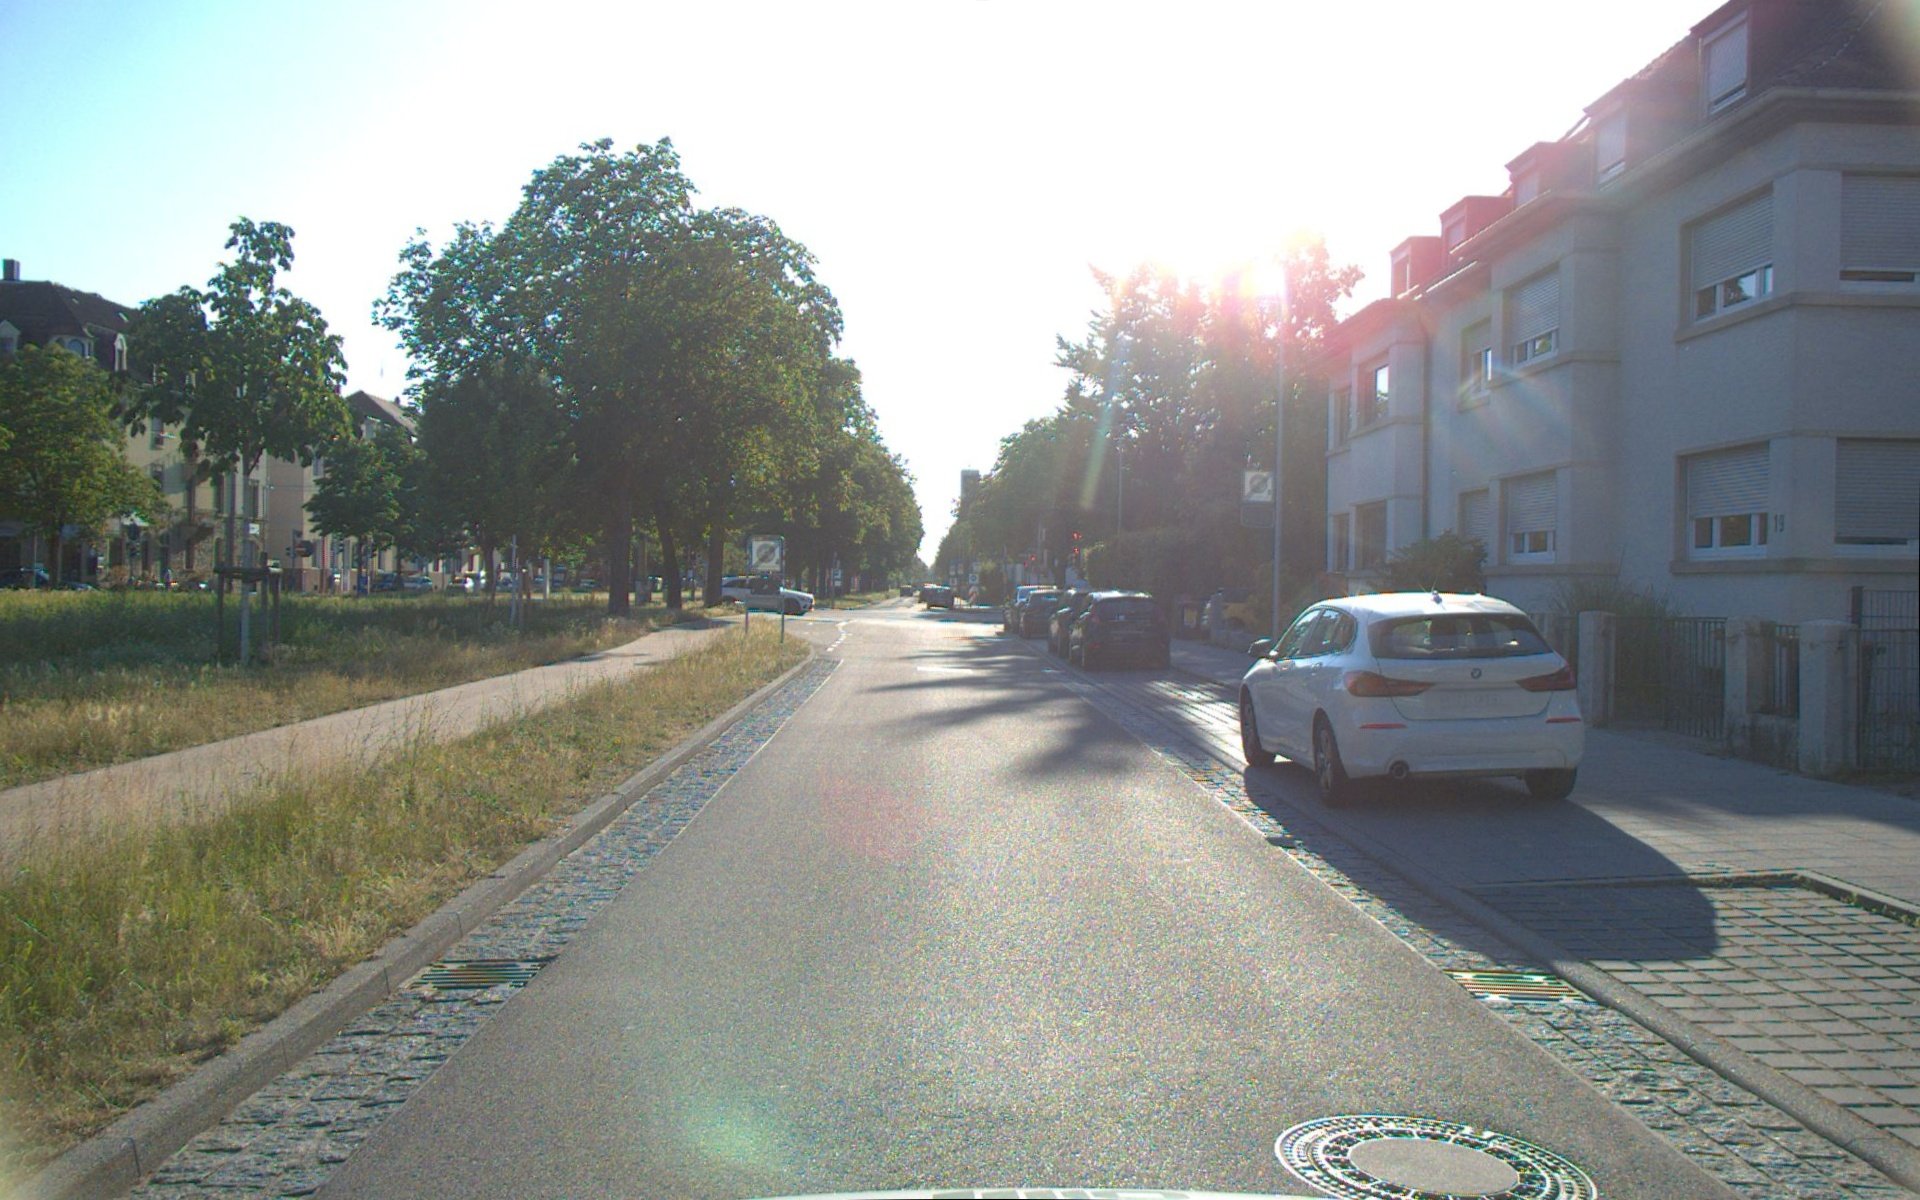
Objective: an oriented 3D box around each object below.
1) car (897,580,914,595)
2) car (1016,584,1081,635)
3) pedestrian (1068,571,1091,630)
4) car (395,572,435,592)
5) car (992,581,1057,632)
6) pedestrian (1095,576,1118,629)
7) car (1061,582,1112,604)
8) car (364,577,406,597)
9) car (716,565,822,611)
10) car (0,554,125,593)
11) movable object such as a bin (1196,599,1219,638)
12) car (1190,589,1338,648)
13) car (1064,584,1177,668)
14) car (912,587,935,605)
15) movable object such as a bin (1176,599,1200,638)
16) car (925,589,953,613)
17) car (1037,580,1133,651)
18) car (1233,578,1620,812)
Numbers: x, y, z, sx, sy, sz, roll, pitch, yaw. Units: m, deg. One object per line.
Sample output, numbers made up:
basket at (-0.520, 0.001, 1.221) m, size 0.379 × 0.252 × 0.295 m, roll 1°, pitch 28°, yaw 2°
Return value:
car at (-7.546, -1.757, 229.043) m, size 2.090 × 2.049 × 3.901 m, roll 2°, pitch 0°, yaw 0°
car at (2.568, 0.260, 48.655) m, size 1.608 × 1.452 × 3.935 m, roll 0°, pitch 0°, yaw -1°
pedestrian at (3.943, 0.012, 54.732) m, size 0.656 × 1.898 × 0.881 m, roll 1°, pitch 0°, yaw -1°
car at (-44.219, -1.467, 134.329) m, size 1.701 × 1.452 × 3.795 m, roll 2°, pitch 2°, yaw 5°
car at (2.087, 0.197, 54.658) m, size 1.821 × 1.569 × 4.872 m, roll 1°, pitch 0°, yaw -1°
pedestrian at (4.840, 0.072, 54.704) m, size 0.655 × 1.738 × 0.622 m, roll 1°, pitch 0°, yaw -1°
car at (9.710, -0.534, 127.167) m, size 3.703 × 1.552 × 1.743 m, roll 2°, pitch 1°, yaw -1°
car at (-44.480, -1.041, 128.021) m, size 1.701 × 1.421 × 3.795 m, roll 2°, pitch 2°, yaw 5°
car at (-8.442, -0.529, 73.224) m, size 4.319 × 1.705 × 1.898 m, roll 4°, pitch 0°, yaw 2°
car at (-37.715, -1.103, 69.107) m, size 4.677 × 1.459 × 1.811 m, roll 2°, pitch -1°, yaw -10°
movable object such as a bin at (6.834, 0.500, 45.722) m, size 0.498 × 1.061 × 0.416 m, roll 2°, pitch 0°, yaw -7°
car at (7.977, 0.474, 43.586) m, size 3.560 × 1.522 × 1.781 m, roll 0°, pitch 0°, yaw -1°
car at (3.056, 0.460, 32.209) m, size 1.684 × 1.497 × 3.982 m, roll -1°, pitch 0°, yaw -2°
car at (-3.069, -0.331, 139.738) m, size 1.808 × 1.418 × 3.828 m, roll 2°, pitch 0°, yaw 0°
movable object such as a bin at (6.294, 0.501, 45.659) m, size 0.498 × 1.061 × 0.658 m, roll 2°, pitch 0°, yaw -7°
car at (-1.331, 0.044, 105.677) m, size 1.607 × 1.476 × 3.308 m, roll 2°, pitch 0°, yaw 1°
car at (2.799, 0.311, 37.751) m, size 1.711 × 1.500 × 4.254 m, roll 1°, pitch 0°, yaw -2°
car at (3.447, 0.601, 13.082) m, size 1.747 × 1.533 × 4.232 m, roll 0°, pitch 1°, yaw -2°
